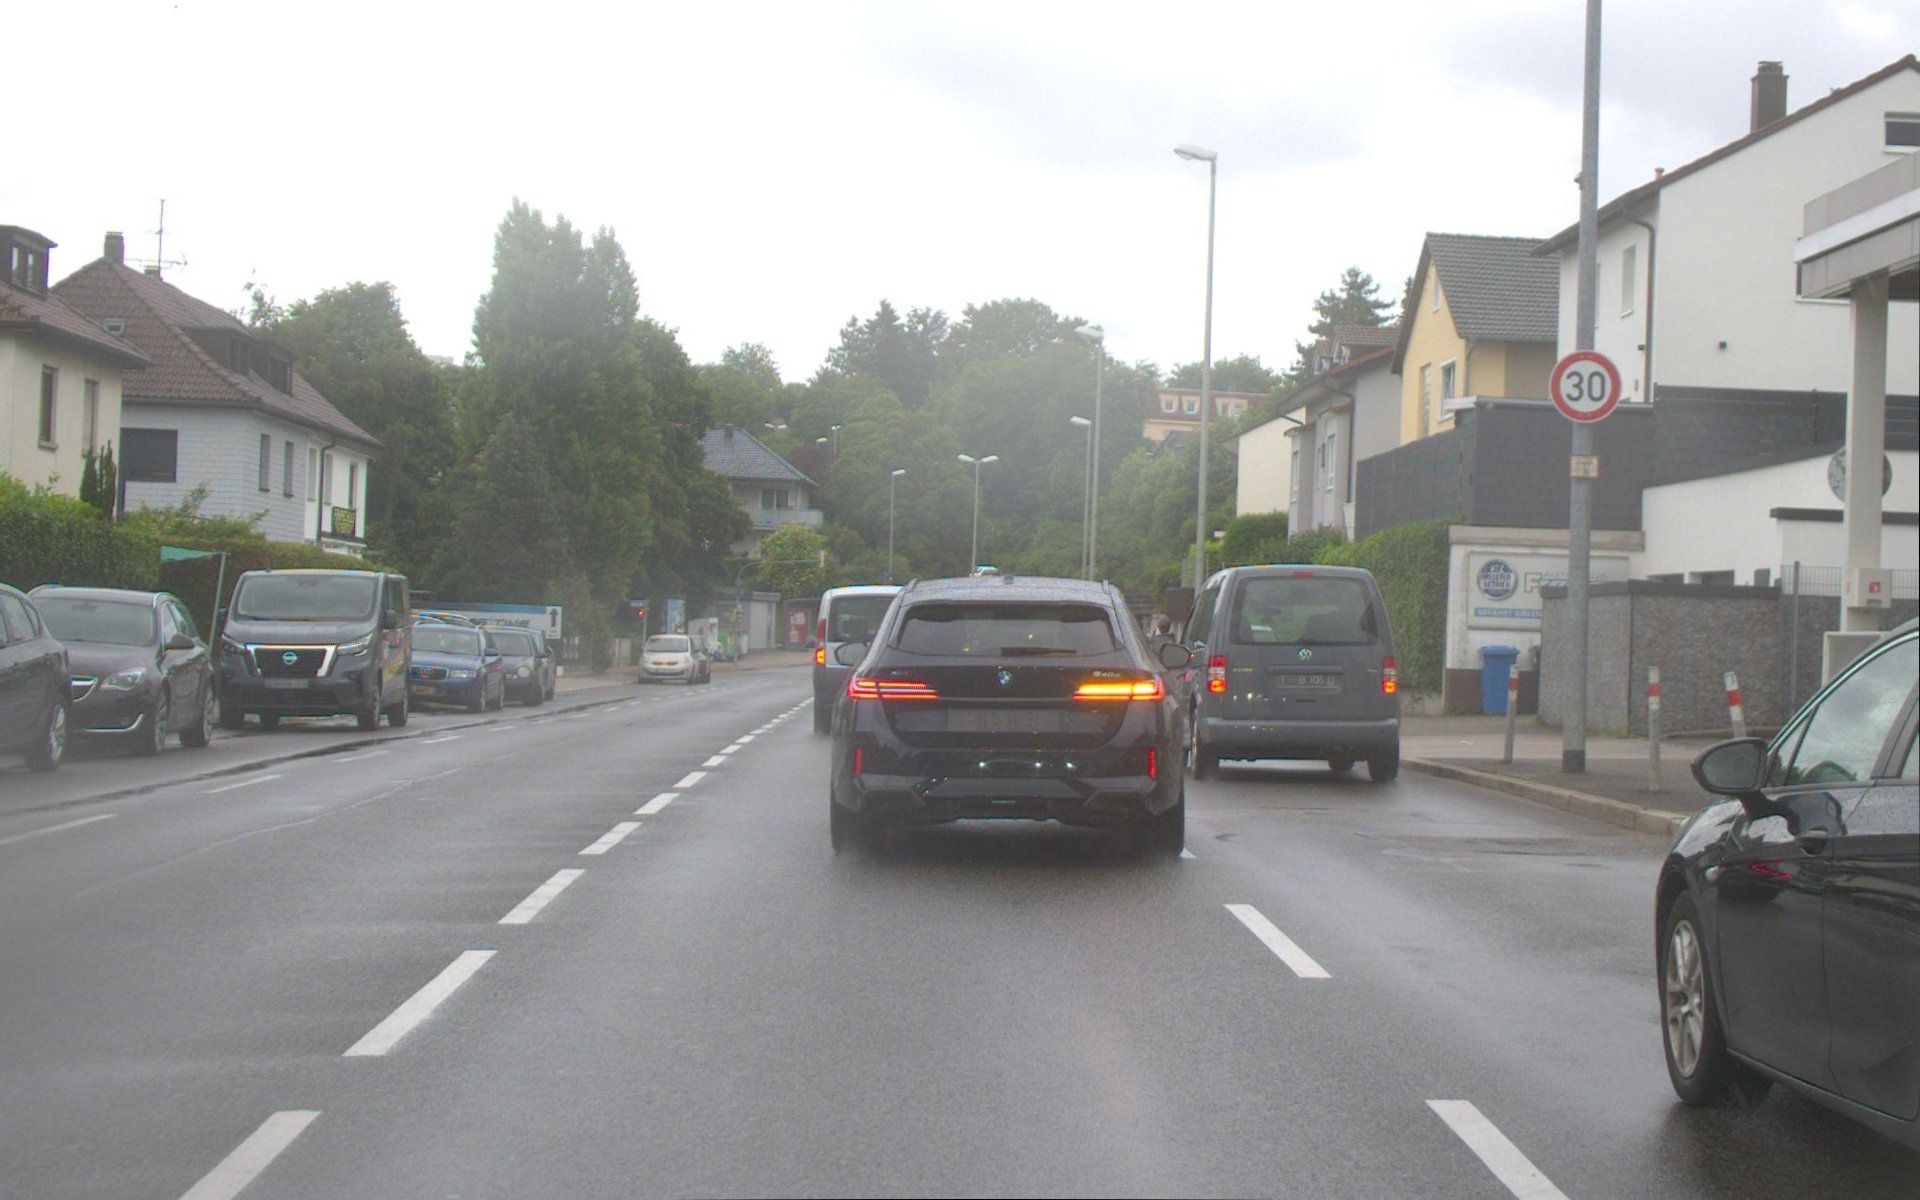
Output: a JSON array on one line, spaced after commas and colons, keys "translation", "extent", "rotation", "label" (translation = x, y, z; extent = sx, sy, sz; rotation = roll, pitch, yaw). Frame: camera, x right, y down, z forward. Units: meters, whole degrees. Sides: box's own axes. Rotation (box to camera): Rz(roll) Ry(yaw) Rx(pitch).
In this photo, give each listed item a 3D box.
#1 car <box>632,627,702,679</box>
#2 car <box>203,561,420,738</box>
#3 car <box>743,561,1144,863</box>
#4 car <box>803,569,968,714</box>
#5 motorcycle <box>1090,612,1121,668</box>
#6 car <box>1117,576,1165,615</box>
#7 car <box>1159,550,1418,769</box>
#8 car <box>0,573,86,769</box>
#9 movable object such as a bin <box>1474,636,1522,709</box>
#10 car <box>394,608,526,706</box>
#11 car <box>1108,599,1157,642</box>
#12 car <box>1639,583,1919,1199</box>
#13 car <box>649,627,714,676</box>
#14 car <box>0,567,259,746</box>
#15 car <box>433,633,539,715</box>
[{"translation": [-9.393, 1.700, 110.430], "extent": [1.884, 1.580, 4.000], "rotation": [1, -1, 0], "label": "car"}, {"translation": [-7.889, 0.612, 42.276], "extent": [1.912, 1.996, 5.088], "rotation": [2, -1, -3], "label": "car"}, {"translation": [-0.078, 0.596, 19.425], "extent": [1.993, 1.479, 4.000], "rotation": [1, -1, 0], "label": "car"}, {"translation": [-0.936, 0.544, 44.374], "extent": [1.993, 1.732, 4.000], "rotation": [1, -1, 0], "label": "car"}, {"translation": [3.985, 1.108, 94.319], "extent": [0.703, 1.504, 2.150], "rotation": [-1, -1, -1], "label": "motorcycle"}, {"translation": [11.783, -0.318, 224.138], "extent": [2.521, 2.006, 5.609], "rotation": [3, 4, -2], "label": "car"}, {"translation": [2.833, 0.525, 30.413], "extent": [1.838, 1.761, 4.000], "rotation": [1, -1, 0], "label": "car"}, {"translation": [-7.907, 0.505, 25.509], "extent": [1.750, 1.435, 4.129], "rotation": [1, -1, 0], "label": "car"}, {"translation": [8.281, 1.117, 52.976], "extent": [0.595, 1.101, 0.667], "rotation": [-1, 0, -1], "label": "movable object such as a bin"}, {"translation": [-8.323, 0.944, 57.511], "extent": [1.757, 1.527, 4.287], "rotation": [2, -1, -3], "label": "car"}, {"translation": [9.399, 1.114, 187.867], "extent": [2.522, 2.006, 5.608], "rotation": [2, 2, 2], "label": "car"}, {"translation": [2.913, 0.705, 8.107], "extent": [1.756, 1.444, 4.000], "rotation": [1, 1, -1], "label": "car"}, {"translation": [-9.468, 1.746, 116.988], "extent": [1.884, 1.580, 4.000], "rotation": [1, -1, 0], "label": "car"}, {"translation": [-7.774, 0.521, 32.045], "extent": [1.750, 1.512, 4.528], "rotation": [2, -1, -3], "label": "car"}, {"translation": [-8.749, 1.355, 63.649], "extent": [1.551, 1.426, 4.015], "rotation": [2, -1, -3], "label": "car"}]
